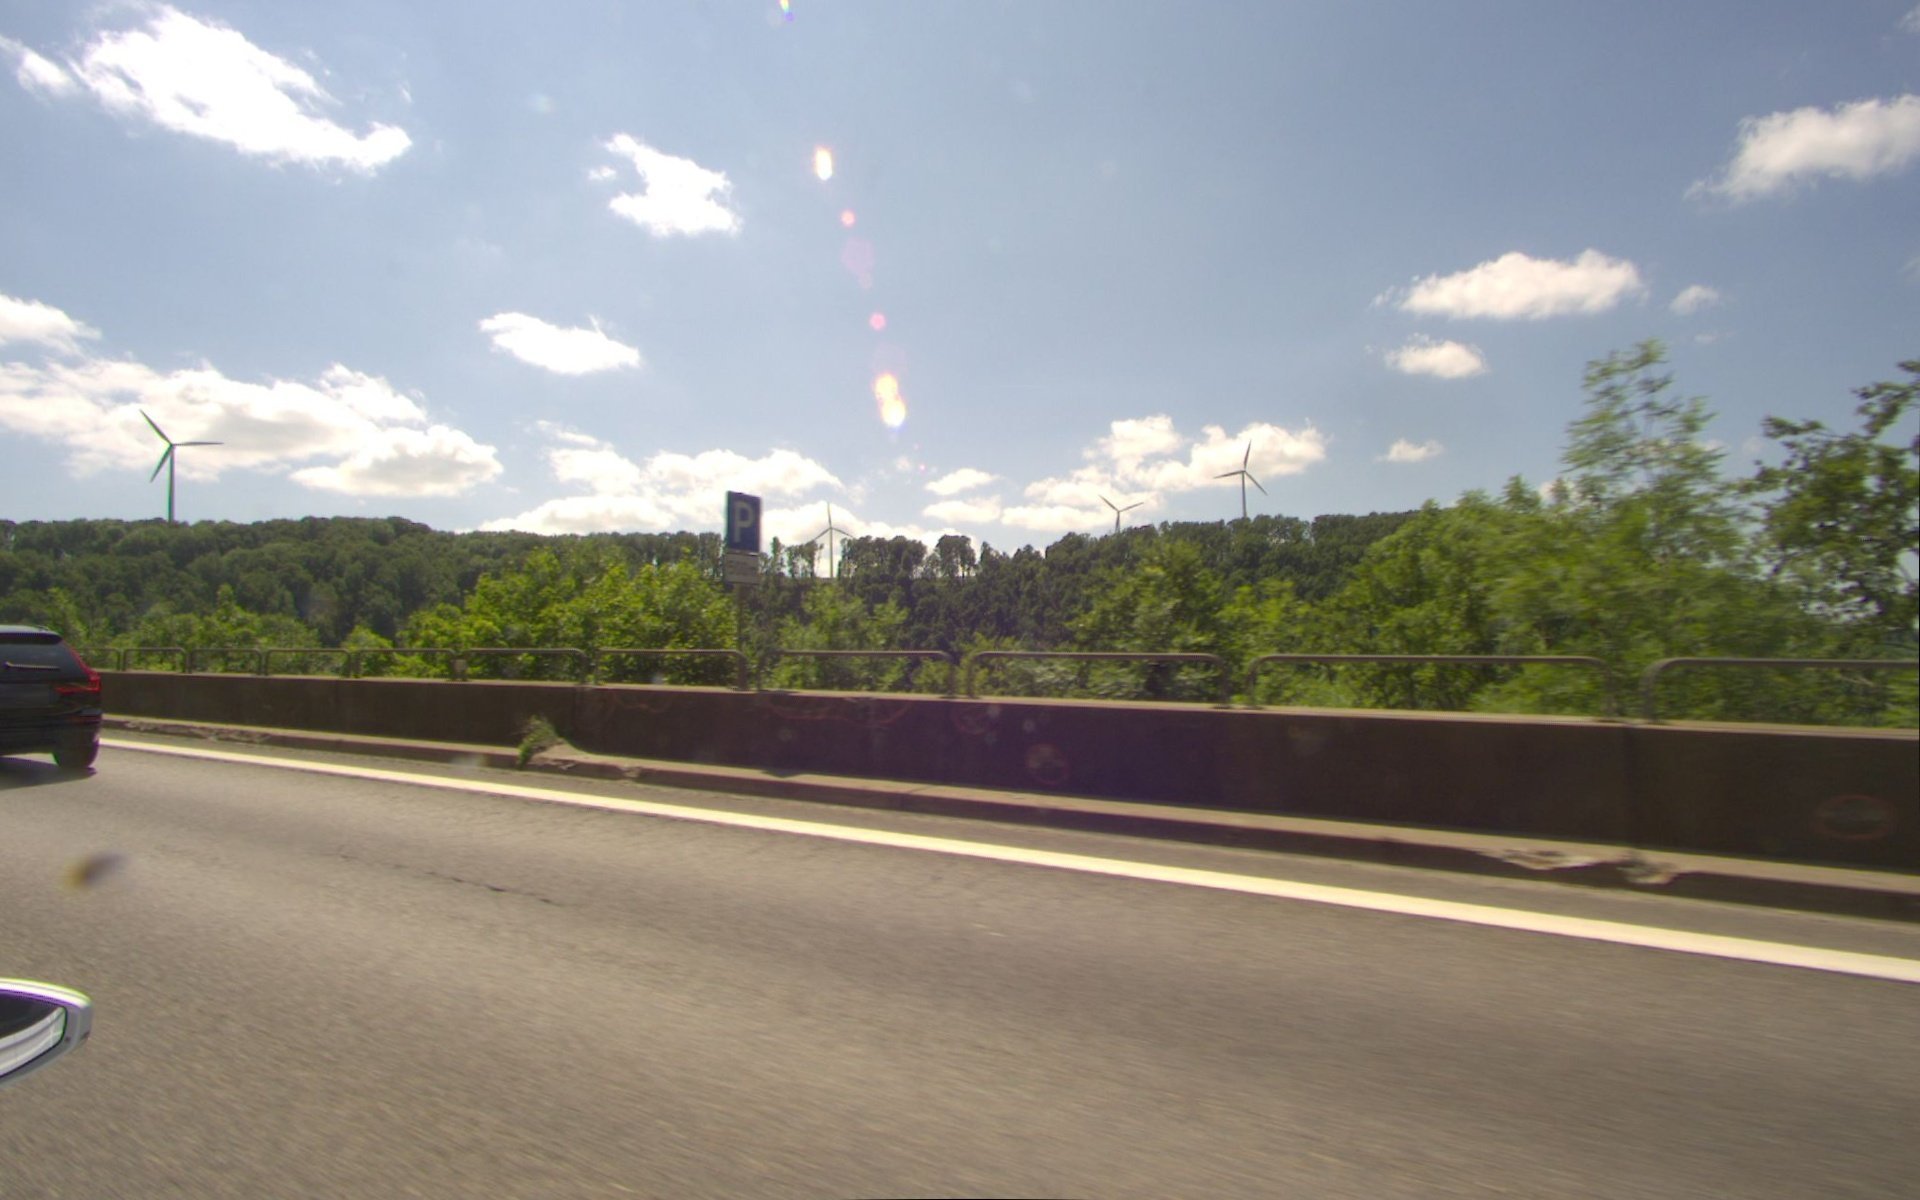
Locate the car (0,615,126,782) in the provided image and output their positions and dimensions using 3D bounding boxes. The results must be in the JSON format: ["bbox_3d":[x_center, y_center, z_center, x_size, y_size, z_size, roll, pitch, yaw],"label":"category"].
[{"bbox_3d":[-11.464,1.039,11.258,4.595,1.654,1.832,-2,-1,31],"label":"car"}]
